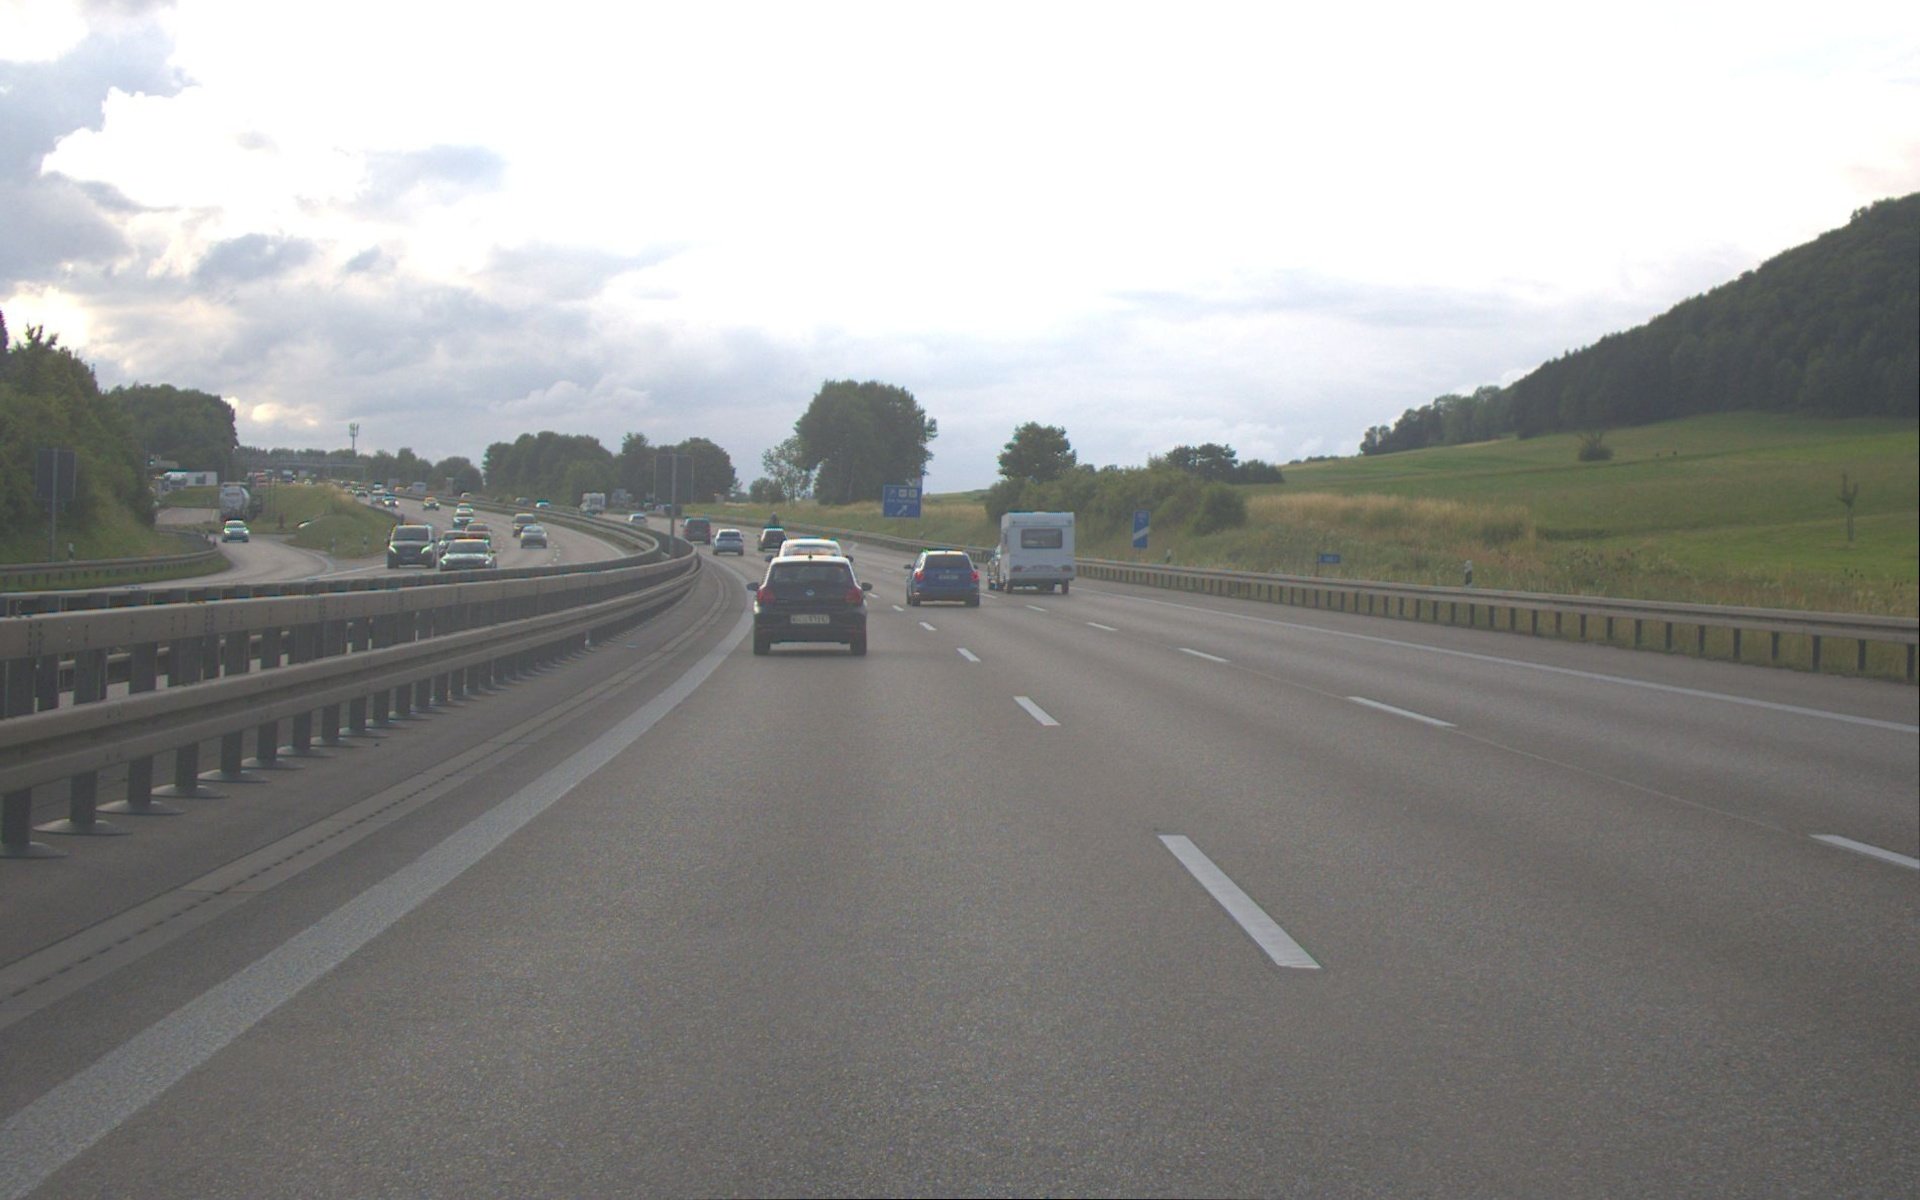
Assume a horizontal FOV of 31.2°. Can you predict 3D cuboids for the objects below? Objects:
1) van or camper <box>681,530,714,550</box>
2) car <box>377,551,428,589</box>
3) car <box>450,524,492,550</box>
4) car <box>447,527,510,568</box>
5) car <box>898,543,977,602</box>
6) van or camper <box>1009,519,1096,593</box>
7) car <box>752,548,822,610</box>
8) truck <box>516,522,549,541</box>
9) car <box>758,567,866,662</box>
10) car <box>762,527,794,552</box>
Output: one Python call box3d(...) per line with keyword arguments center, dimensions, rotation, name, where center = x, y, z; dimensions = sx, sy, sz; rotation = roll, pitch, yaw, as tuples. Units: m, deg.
box3d(center=(-18.976, -4.316, 248.401), dimensions=(1.966, 1.428, 4.000), rotation=(1, 1, 1), name="van or camper")
box3d(center=(-24.472, -1.322, 150.902), dimensions=(1.776, 1.590, 4.001), rotation=(1, 1, -3), name="car")
box3d(center=(-26.735, -3.436, 188.138), dimensions=(1.993, 1.349, 4.356), rotation=(-1, 2, -4), name="car")
box3d(center=(-17.468, -1.889, 124.775), dimensions=(1.993, 1.425, 4.588), rotation=(1, 1, -5), name="car")
box3d(center=(-0.595, -0.714, 88.996), dimensions=(1.766, 1.428, 4.001), rotation=(3, 0, -3), name="car")
box3d(center=(2.878, -1.393, 108.267), dimensions=(2.548, 2.231, 5.329), rotation=(0, 1, 0), name="van or camper")
box3d(center=(-4.011, -0.500, 79.427), dimensions=(1.565, 1.376, 4.001), rotation=(1, 1, -3), name="car")
box3d(center=(-28.078, -4.522, 225.869), dimensions=(1.993, 1.218, 4.001), rotation=(-1, 2, -9), name="truck")
box3d(center=(-2.210, 0.191, 51.179), dimensions=(1.538, 1.343, 3.677), rotation=(0, 1, -3), name="car")
box3d(center=(-11.785, -3.936, 223.234), dimensions=(1.957, 1.568, 4.000), rotation=(1, 1, -1), name="car")
